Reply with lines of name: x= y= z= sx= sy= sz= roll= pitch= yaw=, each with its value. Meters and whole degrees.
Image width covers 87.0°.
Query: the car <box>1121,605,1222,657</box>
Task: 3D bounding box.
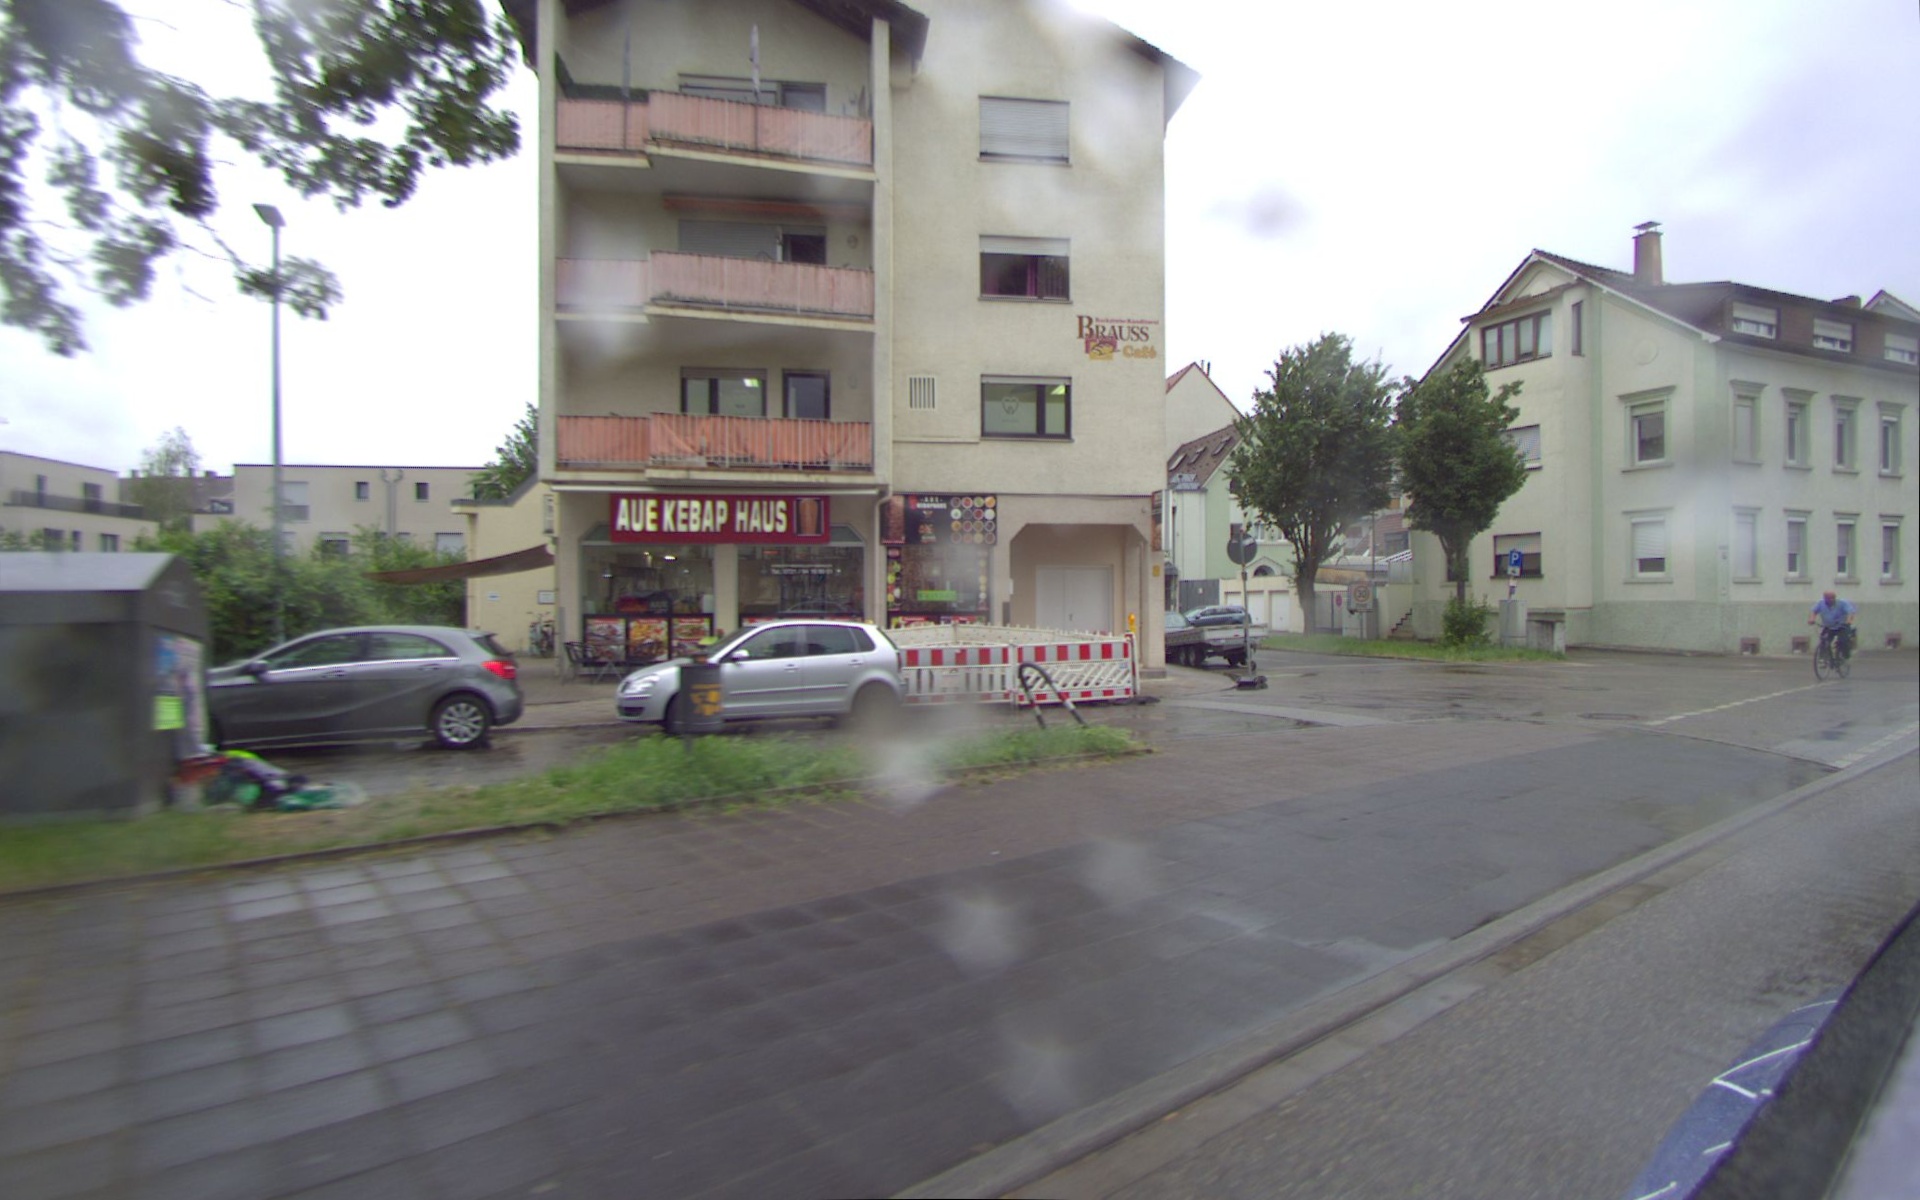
car: x=6.223 y=0.874 z=30.228 sx=1.702 sy=1.421 sz=4.005 roll=-1 pitch=0 yaw=-8

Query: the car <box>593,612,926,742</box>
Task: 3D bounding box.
car: x=-2.664 y=0.927 z=13.564 sx=4.090 sy=1.452 sz=1.642 roll=-1 pitch=0 yaw=-25

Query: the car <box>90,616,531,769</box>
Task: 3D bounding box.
car: x=-7.260 y=0.953 z=11.817 sx=4.071 sy=1.452 sz=1.706 roll=-1 pitch=0 yaw=-25

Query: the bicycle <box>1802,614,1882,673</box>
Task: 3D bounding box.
bicycle: x=16.737 y=0.800 z=19.199 sx=1.934 sy=1.074 sz=0.675 roll=0 pitch=-1 yaw=-35

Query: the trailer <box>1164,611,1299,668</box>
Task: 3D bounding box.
trailer: x=6.768 y=0.939 z=25.751 sx=1.788 sy=1.247 sz=4.538 roll=-1 pitch=0 yaw=-6

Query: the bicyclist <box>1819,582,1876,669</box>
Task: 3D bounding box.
bicyclist: x=16.820 y=0.480 z=19.188 sx=0.702 sy=1.603 sz=0.640 roll=1 pitch=-1 yaw=-34

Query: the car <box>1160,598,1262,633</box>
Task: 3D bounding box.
car: x=11.894 y=0.710 z=48.078 sx=4.372 sy=1.554 sz=1.741 roll=-1 pitch=0 yaw=-15
